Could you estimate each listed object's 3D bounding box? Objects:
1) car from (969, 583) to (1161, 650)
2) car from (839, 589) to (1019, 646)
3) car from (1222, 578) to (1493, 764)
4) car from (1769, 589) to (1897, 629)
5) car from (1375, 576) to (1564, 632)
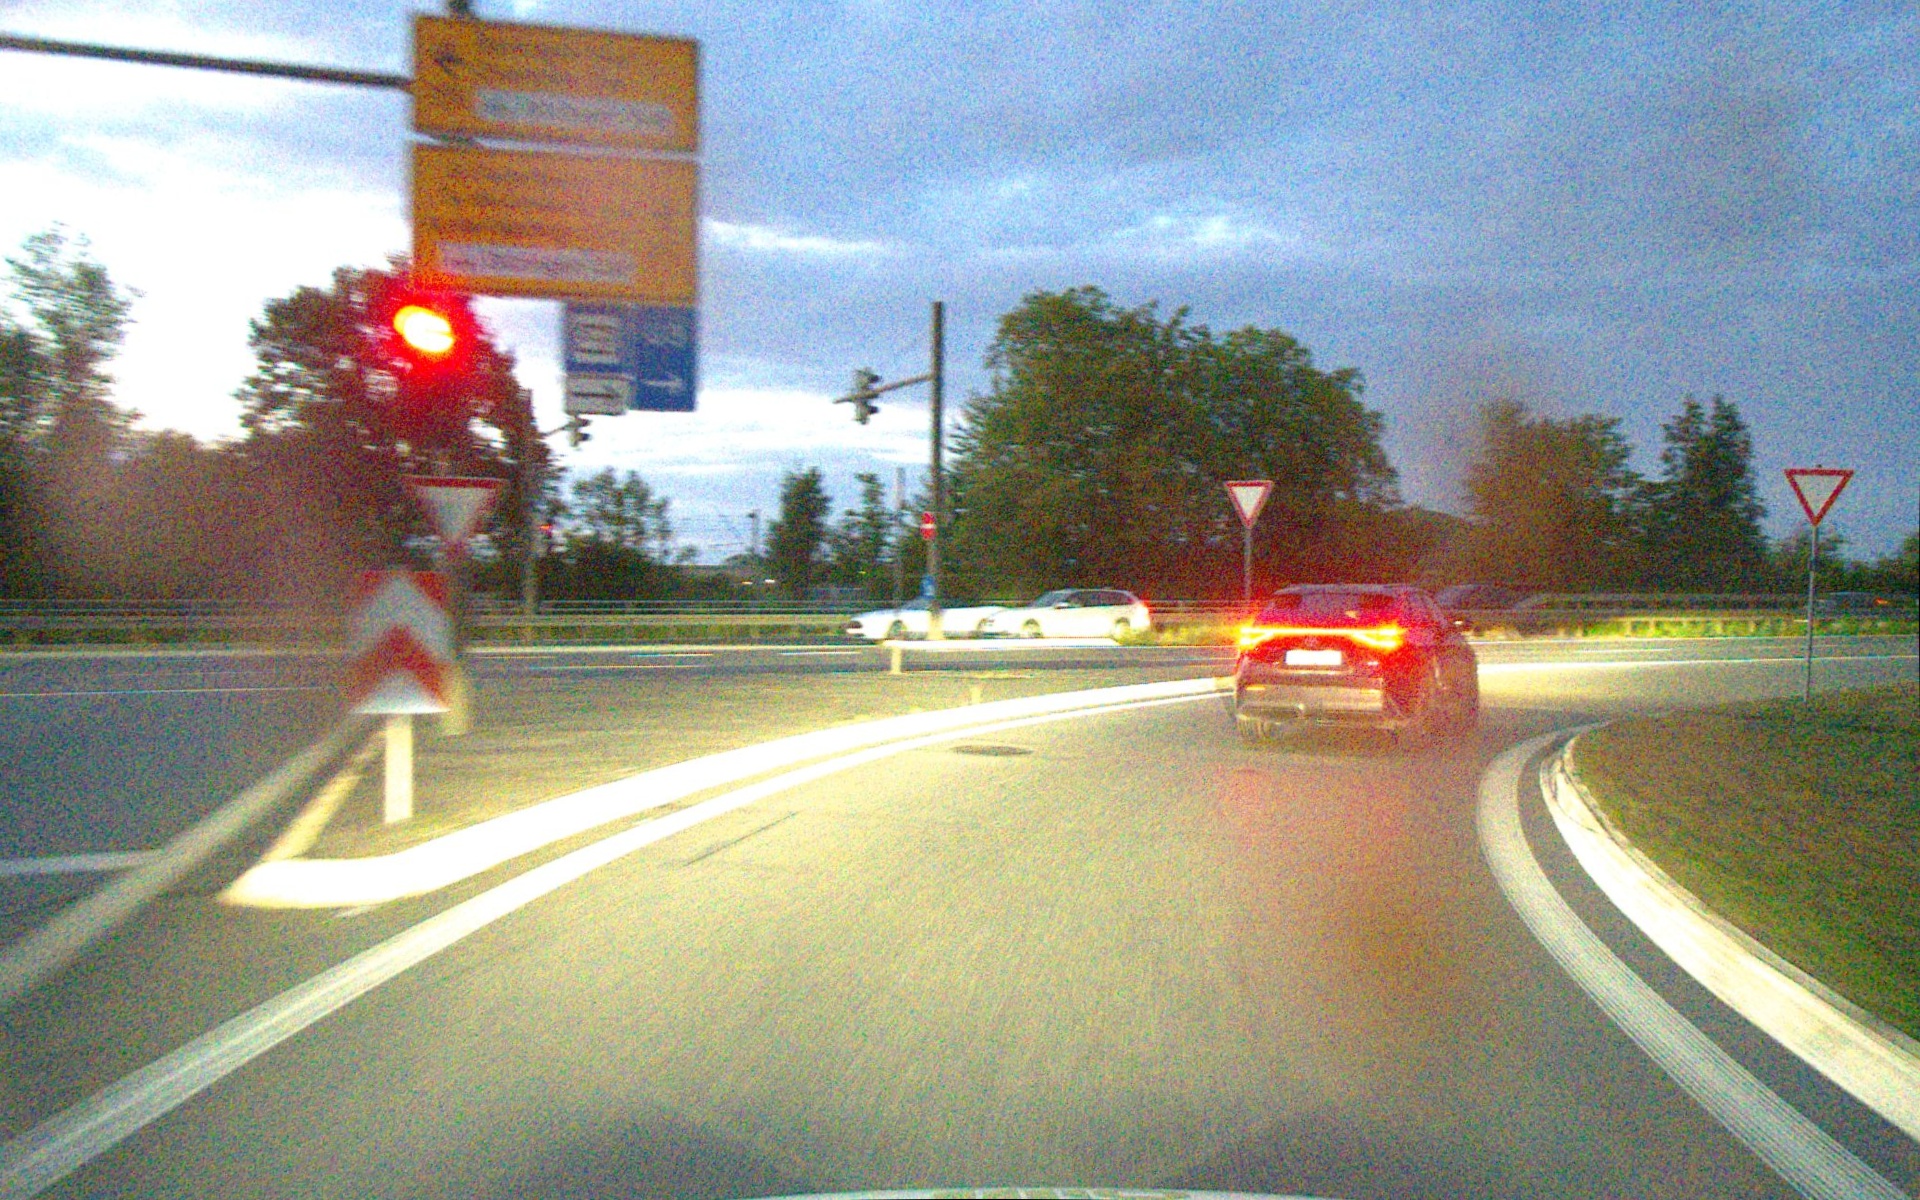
[{"bbox_3d":[2.816,0.460,44.100,4.801,1.711,1.982,1,-1,-28],"label":"car"},{"bbox_3d":[-0.854,0.468,46.412,4.662,1.478,1.983,-1,0,-27],"label":"car"},{"bbox_3d":[4.338,0.620,17.496,1.863,1.648,4.553,2,1,25],"label":"car"},{"bbox_3d":[33.478,0.333,63.427,4.660,1.478,1.984,0,0,-26],"label":"car"},{"bbox_3d":[14.103,0.097,45.734,4.967,1.478,1.984,0,-1,-25],"label":"car"}]
